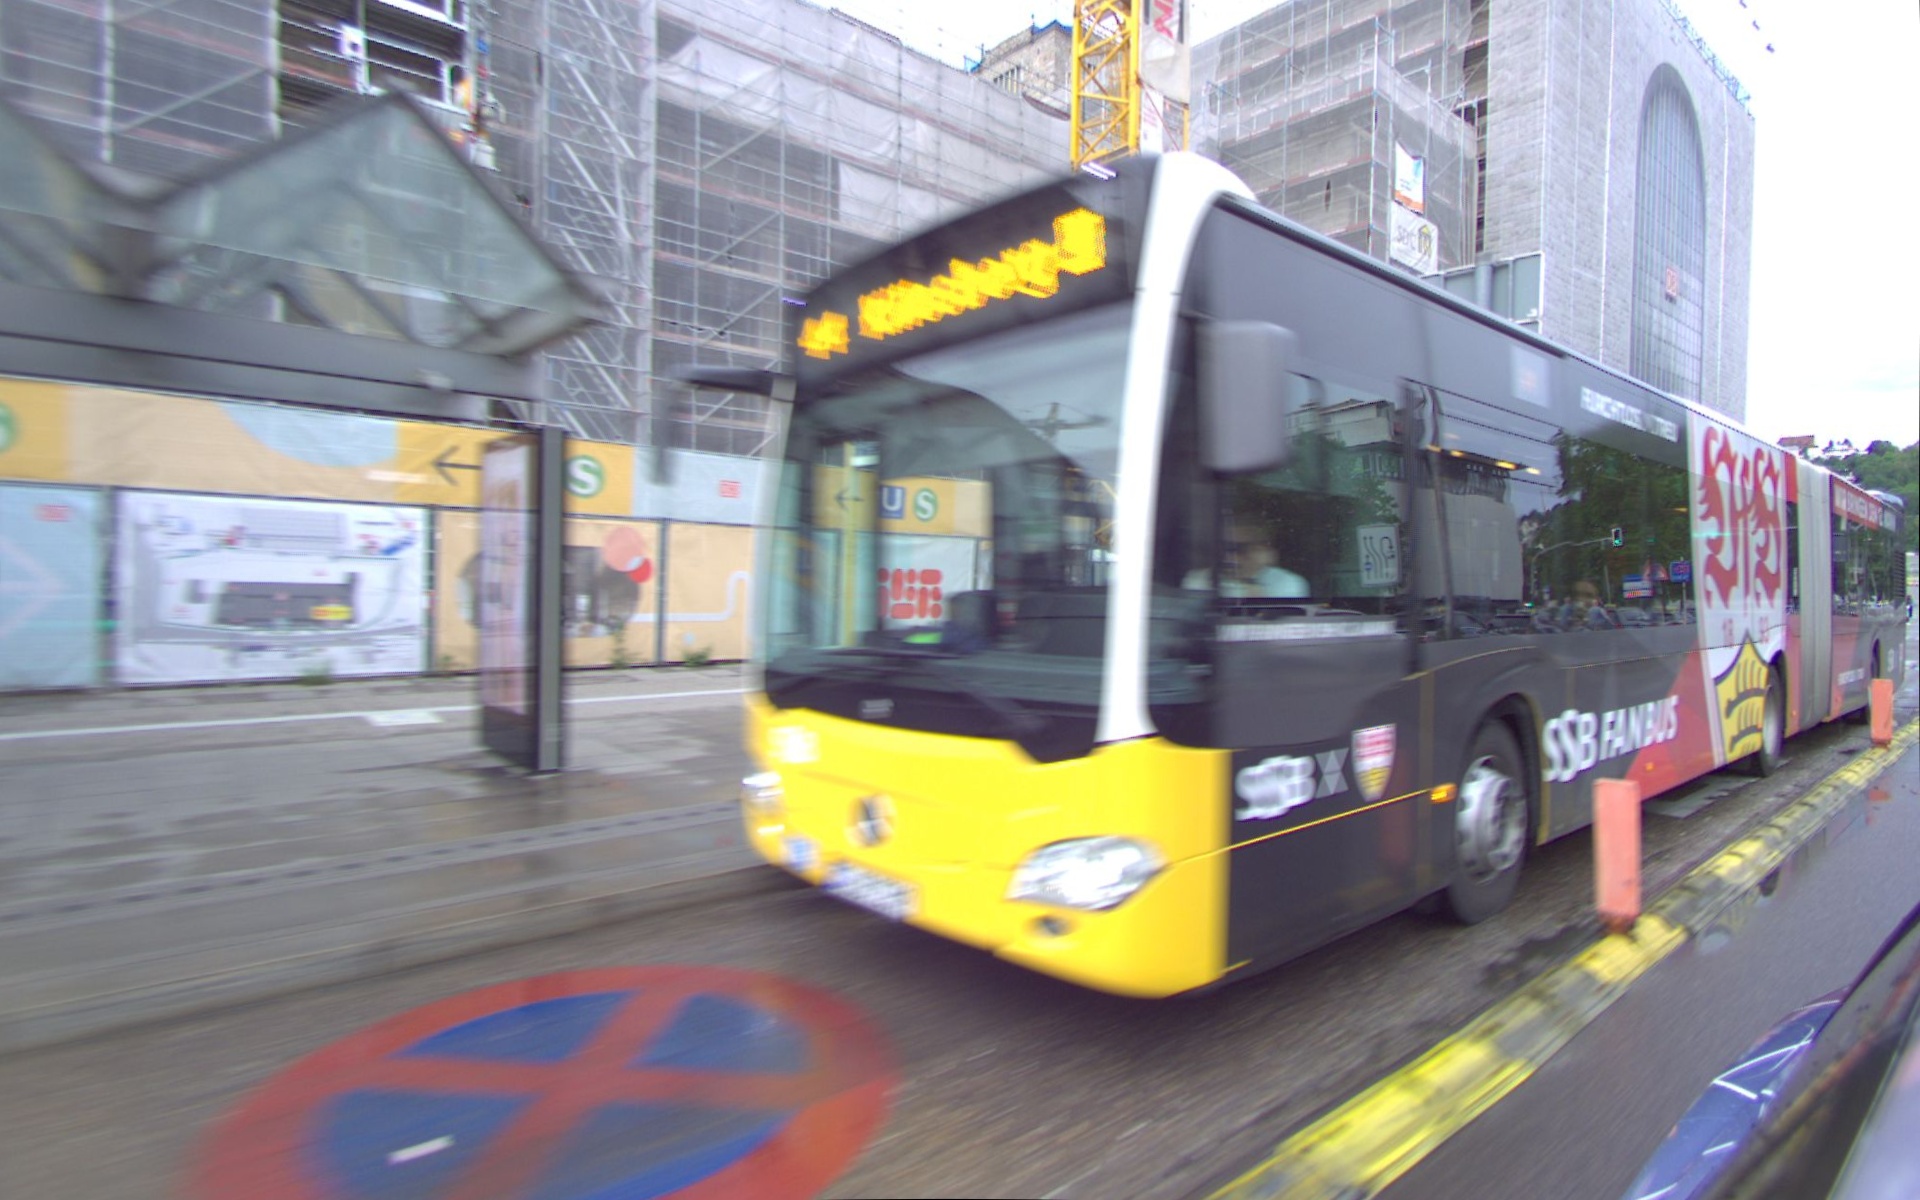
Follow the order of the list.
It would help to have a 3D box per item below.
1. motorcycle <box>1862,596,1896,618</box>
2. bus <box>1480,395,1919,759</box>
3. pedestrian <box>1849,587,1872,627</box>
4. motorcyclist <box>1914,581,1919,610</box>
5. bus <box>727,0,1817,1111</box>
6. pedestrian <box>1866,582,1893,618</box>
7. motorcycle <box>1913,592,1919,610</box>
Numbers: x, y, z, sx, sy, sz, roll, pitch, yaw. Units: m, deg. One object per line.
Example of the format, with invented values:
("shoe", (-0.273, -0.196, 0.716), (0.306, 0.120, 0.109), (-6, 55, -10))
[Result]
("motorcycle", (45.324, 0.344, 49.920), (0.576, 1.034, 1.238), (1, 1, 6))
("bus", (9.782, -0.250, 12.643), (8.922, 3.107, 2.760), (-1, 1, -41))
("pedestrian", (41.180, 0.311, 46.281), (0.556, 1.780, 0.742), (5, 3, 35))
("motorcyclist", (68.807, -0.300, 72.426), (0.724, 2.062, 0.578), (3, 1, 42))
("bus", (3.086, -0.184, 6.779), (8.836, 3.104, 2.760), (-1, 1, -41))
("pedestrian", (45.328, -0.017, 49.902), (0.571, 1.762, 0.821), (1, 1, 6))
("motorcycle", (68.765, 0.118, 72.408), (0.727, 1.244, 2.128), (3, 1, 42))
